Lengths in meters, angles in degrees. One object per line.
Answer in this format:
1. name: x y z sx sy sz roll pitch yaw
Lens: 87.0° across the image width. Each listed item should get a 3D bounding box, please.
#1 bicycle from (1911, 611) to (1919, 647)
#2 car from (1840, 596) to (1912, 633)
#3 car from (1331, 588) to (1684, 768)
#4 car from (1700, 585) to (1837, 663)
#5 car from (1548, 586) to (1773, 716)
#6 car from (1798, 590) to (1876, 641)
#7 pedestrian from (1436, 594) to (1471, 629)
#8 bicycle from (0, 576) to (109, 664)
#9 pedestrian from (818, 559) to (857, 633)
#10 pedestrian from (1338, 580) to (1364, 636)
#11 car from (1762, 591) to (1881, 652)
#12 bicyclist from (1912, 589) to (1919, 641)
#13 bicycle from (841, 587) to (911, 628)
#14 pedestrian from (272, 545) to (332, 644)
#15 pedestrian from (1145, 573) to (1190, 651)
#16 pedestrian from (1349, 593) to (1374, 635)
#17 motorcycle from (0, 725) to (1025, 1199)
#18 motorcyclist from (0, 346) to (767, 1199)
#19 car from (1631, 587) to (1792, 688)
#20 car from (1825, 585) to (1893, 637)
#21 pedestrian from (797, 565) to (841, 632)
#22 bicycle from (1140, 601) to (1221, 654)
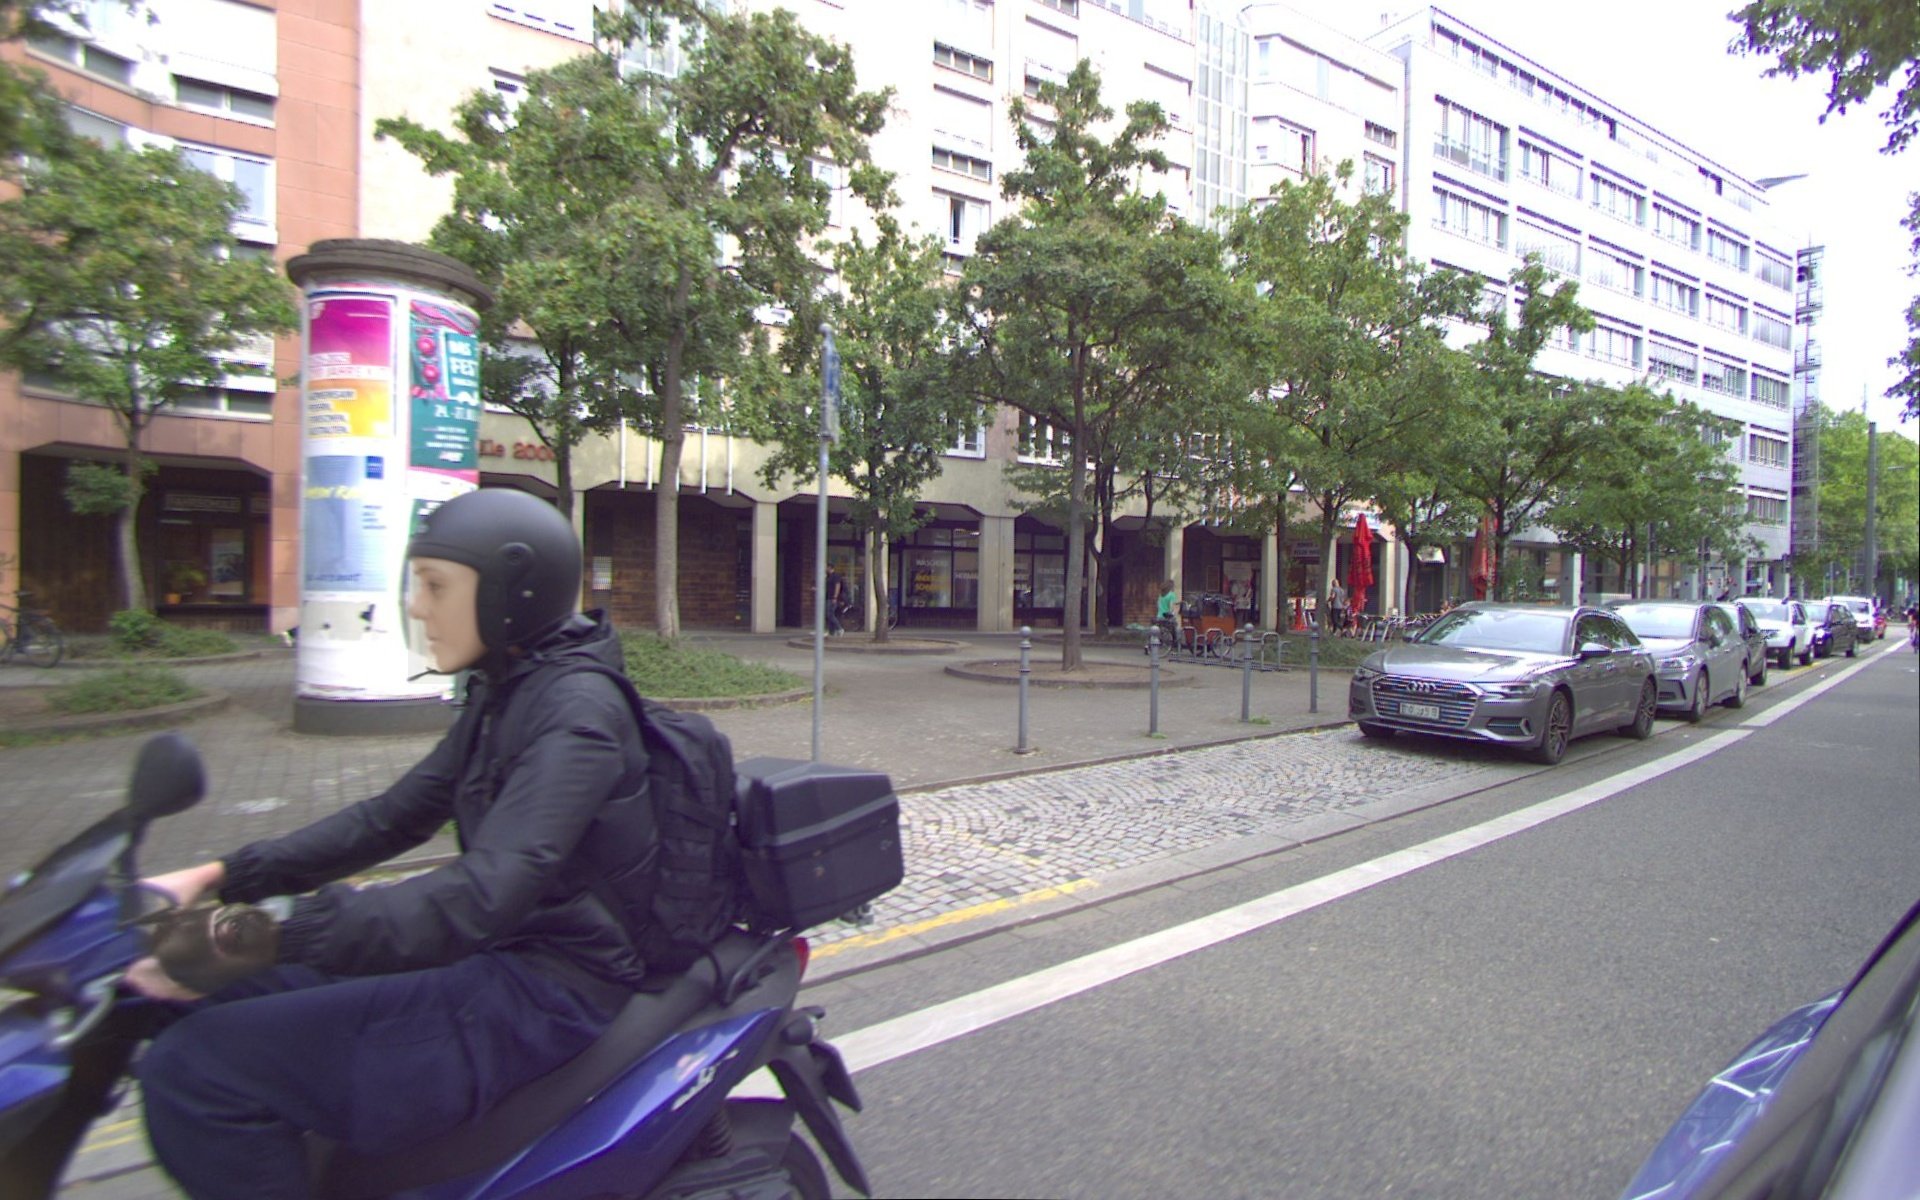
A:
1. bicycle: 31.748 0.953 33.271 1.705 1.153 0.595 0 1 -44
2. car: 40.683 0.626 44.927 4.177 1.450 1.727 1 3 -40
3. car: 5.973 0.659 10.781 4.585 1.460 1.820 0 2 -42
4. car: 19.720 0.535 24.636 4.090 1.674 1.865 0 2 -41
5. car: 10.184 0.632 14.576 4.326 1.537 1.742 0 2 -43
6. car: 32.490 0.542 37.550 1.994 1.622 4.515 5 3 41
7. pedestrian: 17.038 0.392 34.926 0.685 1.171 0.824 1 0 -32
8. bicycle: -12.422 0.247 13.348 1.928 1.126 0.597 1 0 2
9. pedestrian: -2.827 -0.088 23.401 0.668 1.683 0.607 1 0 -34
10. pedestrian: 11.118 0.222 28.798 0.470 1.589 0.518 1 0 -8
11. car: 25.349 0.593 29.736 4.225 1.596 1.780 1 3 -38
12. bicyclist: 31.748 0.492 33.240 1.018 1.674 0.590 1 1 -44
13. bicycle: -2.179 0.192 26.376 1.826 1.025 0.487 0 0 -35
14. pedestrian: -11.463 -0.090 17.653 0.834 1.683 0.535 1 0 -32
15. pedestrian: 4.318 0.241 21.064 0.668 1.606 0.607 1 0 -34
16. pedestrian: 11.622 0.398 29.286 0.447 1.191 0.518 1 0 -15
17. motorcycle: -0.899 0.913 1.622 0.768 1.121 2.173 2 2 44
18. motorcyclist: -0.938 0.504 1.563 0.760 1.538 1.001 2 2 45
19. car: 13.699 0.603 18.358 4.135 1.537 1.716 0 3 -45
20. car: 36.616 0.427 41.183 1.827 1.887 4.575 4 3 43
21. pedestrian: -3.365 -0.042 24.119 0.783 1.575 0.713 1 1 -30
22. bicycle: 4.478 0.537 20.518 1.826 1.025 0.487 0 0 -35
